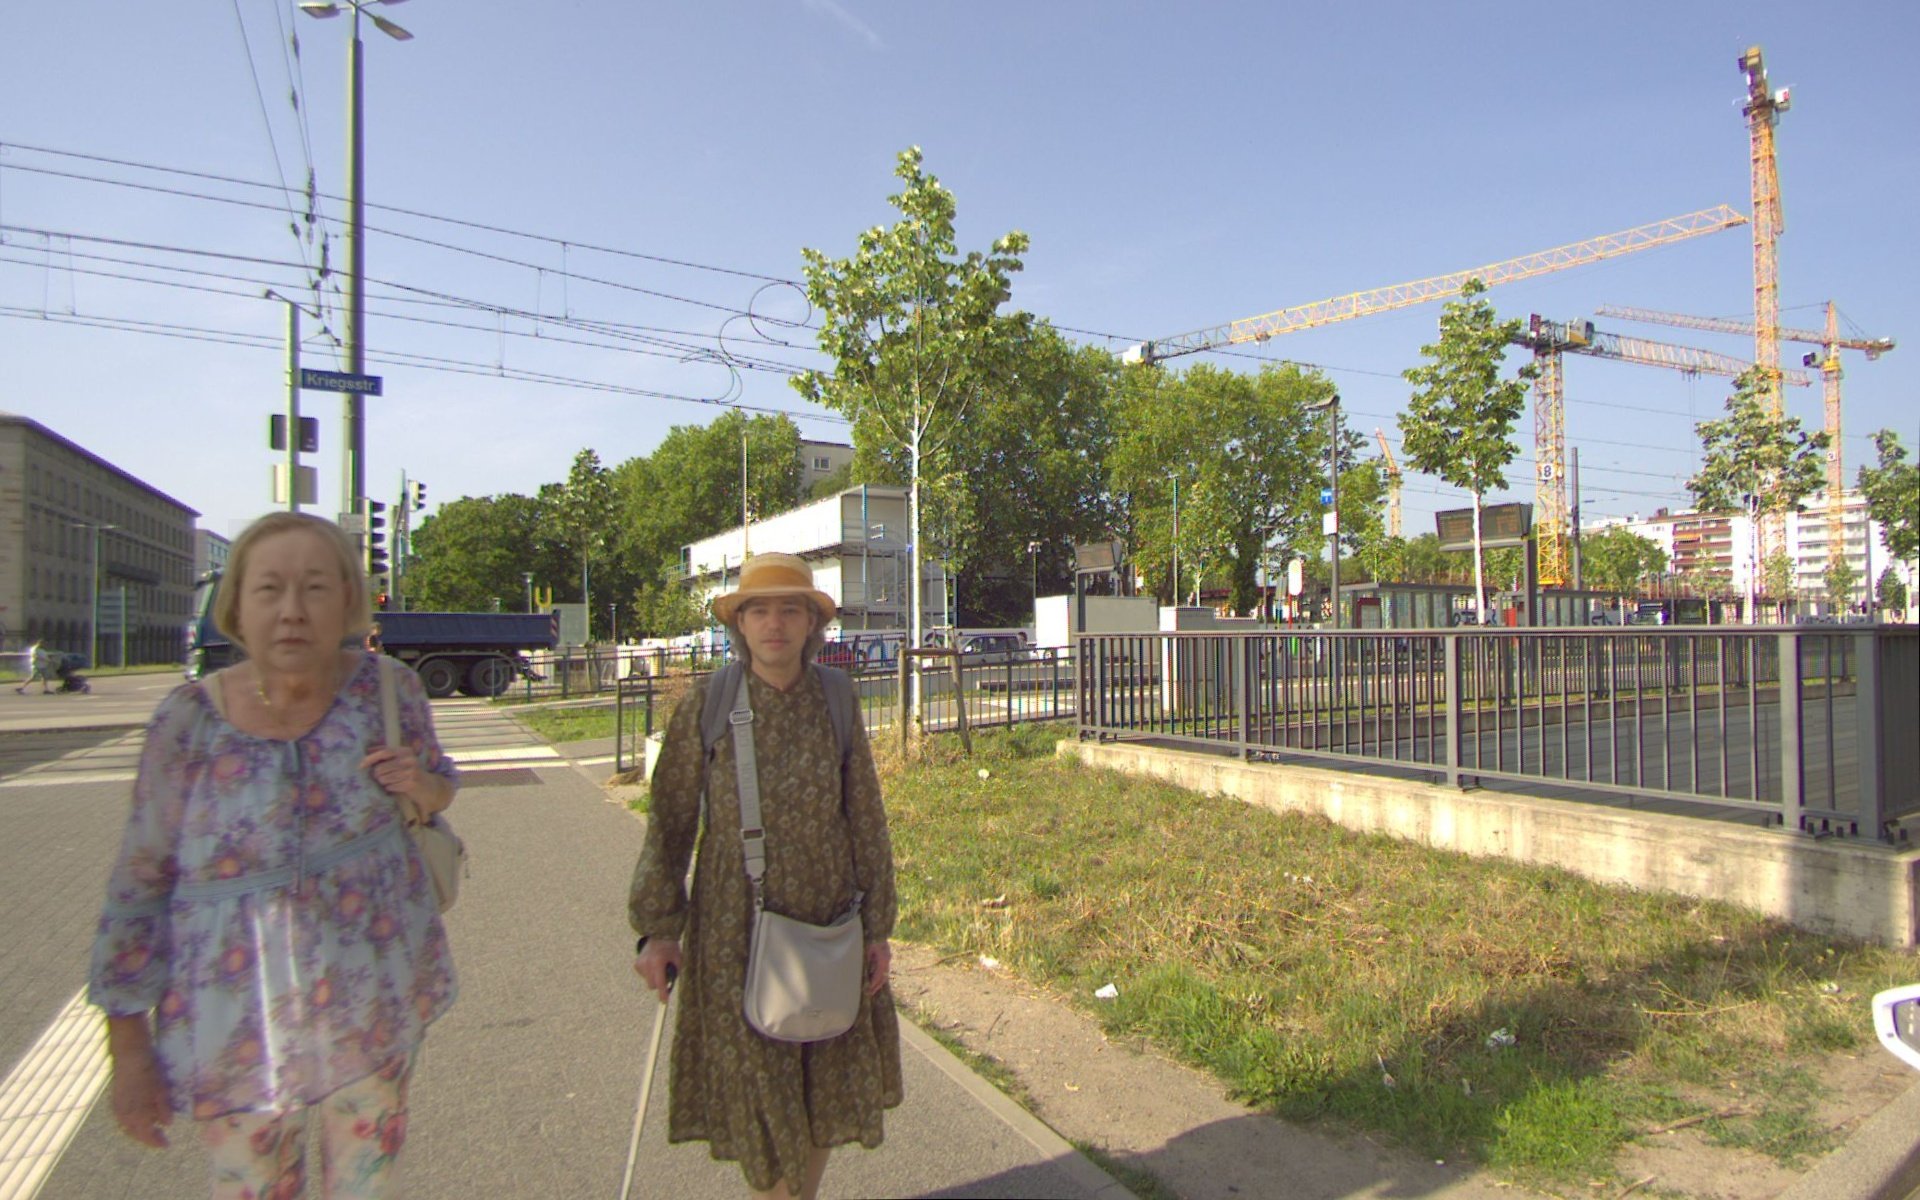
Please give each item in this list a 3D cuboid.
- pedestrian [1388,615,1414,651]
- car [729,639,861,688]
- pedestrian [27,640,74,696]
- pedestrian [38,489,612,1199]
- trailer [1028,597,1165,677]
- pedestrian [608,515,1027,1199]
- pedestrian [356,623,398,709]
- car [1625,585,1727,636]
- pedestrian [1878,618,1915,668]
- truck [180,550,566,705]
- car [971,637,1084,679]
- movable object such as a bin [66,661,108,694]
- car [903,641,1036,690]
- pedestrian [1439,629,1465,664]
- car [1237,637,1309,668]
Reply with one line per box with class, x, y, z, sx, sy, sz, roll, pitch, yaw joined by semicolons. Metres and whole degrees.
pedestrian;16.366;1.228;37.264;0.587;1.317;0.676;0;-2;-35
car;-5.037;1.911;30.905;3.663;1.379;1.709;1;-2;-36
pedestrian;-29.280;2.181;32.348;0.994;1.756;0.558;1;-2;-29
pedestrian;-1.071;0.690;1.793;0.769;1.671;0.465;0;-1;-32
trailer;5.146;1.355;37.631;4.968;2.818;2.033;1;-1;-33
pedestrian;-0.305;0.695;2.154;0.769;1.671;0.465;0;-1;-32
pedestrian;-11.677;1.311;20.132;0.629;1.698;0.370;0;-2;-16
car;53.034;0.826;74.298;9.135;3.559;3.036;1;-1;-33
pedestrian;30.925;1.419;33.165;0.703;1.640;0.731;1;-2;-33
truck;-15.750;0.751;27.510;8.816;3.633;2.997;1;-2;-40
car;2.792;2.346;41.052;4.571;1.602;1.780;1;-2;-36
movable object such as a bin;-28.477;2.519;32.771;0.897;1.027;0.561;0;-2;-29
car;0.358;2.169;34.014;4.357;1.489;1.633;1;-2;-34
pedestrian;18.929;1.775;38.642;0.587;1.317;0.676;0;-2;-35
car;15.502;2.561;49.758;3.396;1.482;1.588;1;-2;-32
